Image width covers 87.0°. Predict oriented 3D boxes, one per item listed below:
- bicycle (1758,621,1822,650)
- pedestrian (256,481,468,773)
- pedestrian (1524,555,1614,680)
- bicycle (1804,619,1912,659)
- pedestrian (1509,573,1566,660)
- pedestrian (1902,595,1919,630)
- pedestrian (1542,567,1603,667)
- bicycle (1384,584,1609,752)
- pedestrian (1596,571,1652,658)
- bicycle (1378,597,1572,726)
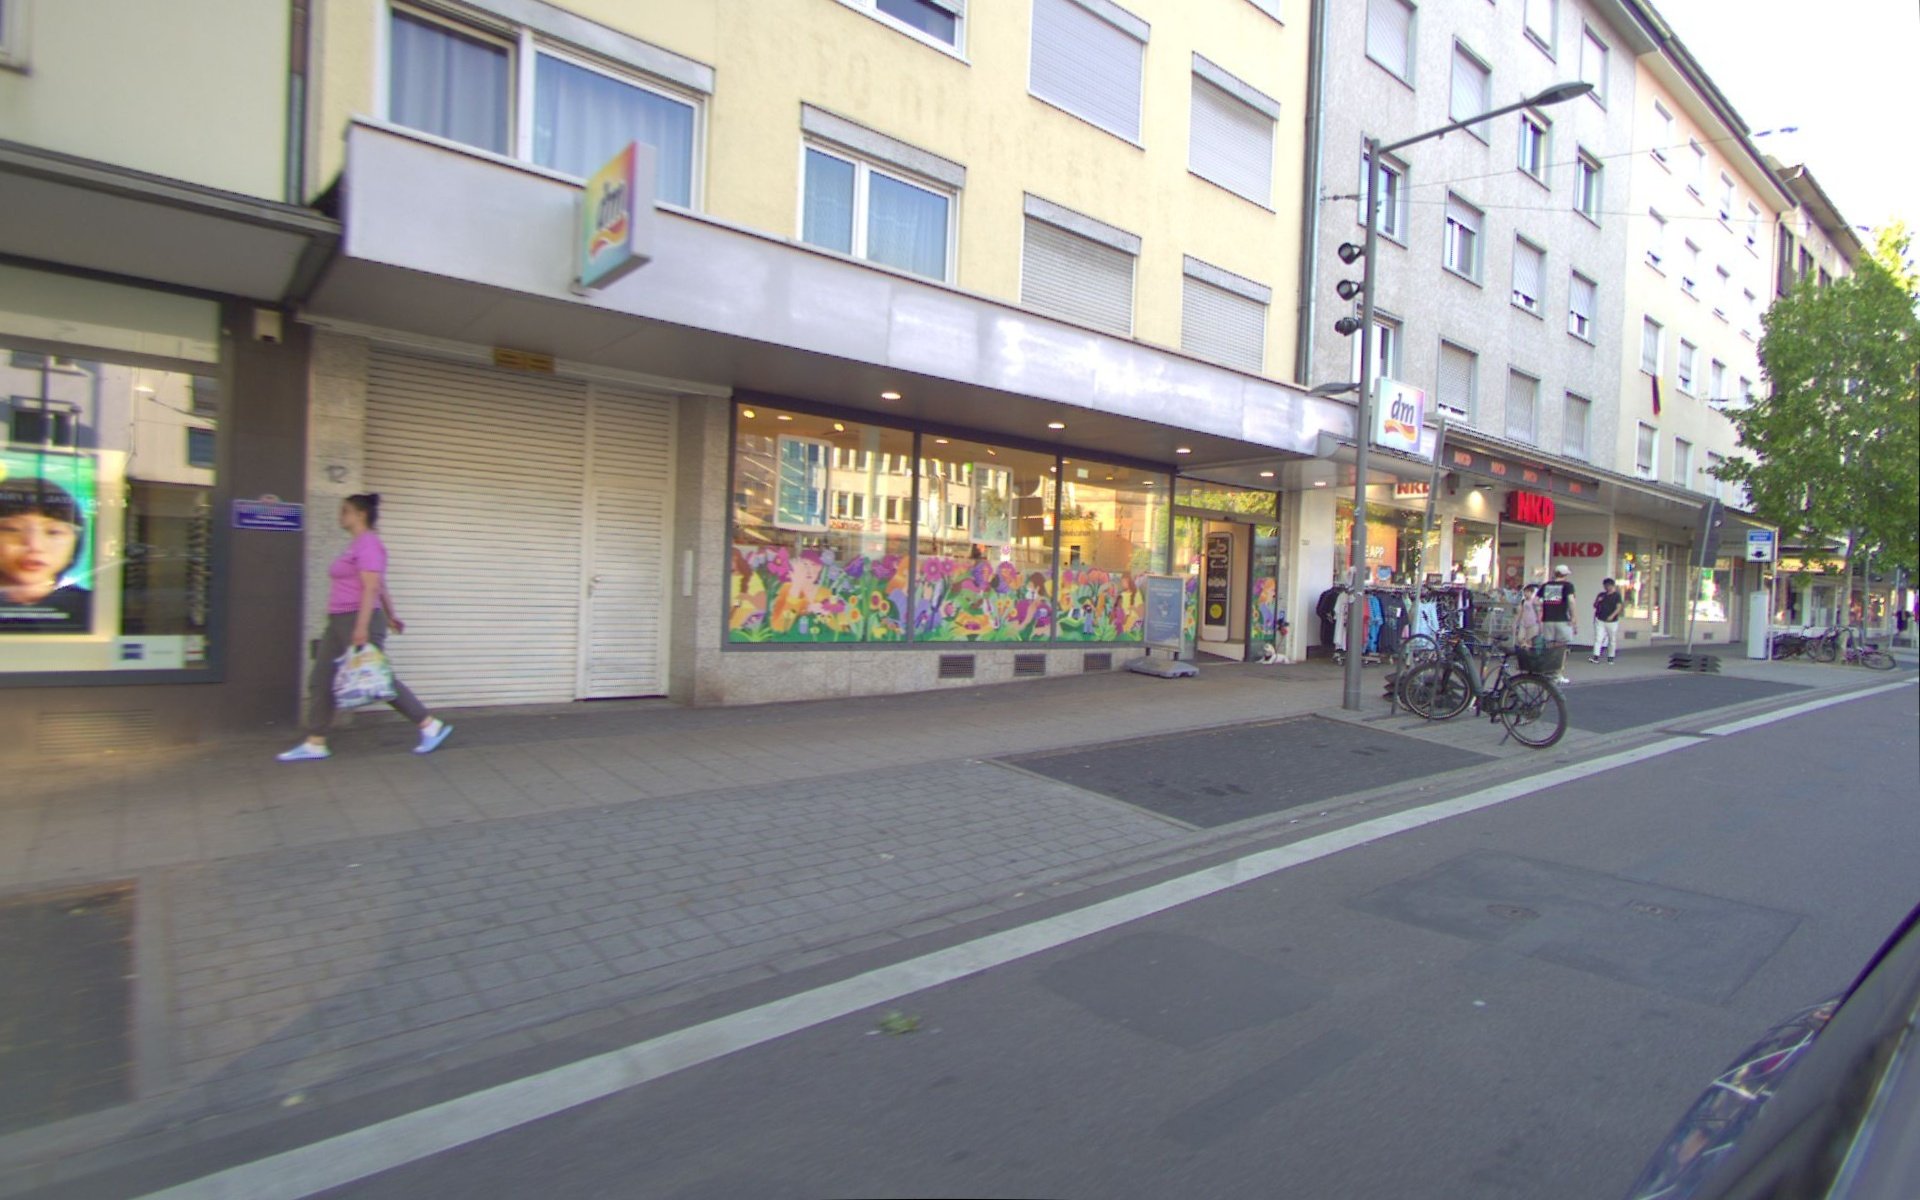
[{"bbox_3d":[20.463,0.867,24.992,0.831,0.579,1.744,3,2,27],"label":"bicycle"},{"bbox_3d":[-4.077,0.135,6.893,1.113,1.784,0.970,0,3,-39],"label":"pedestrian"},{"bbox_3d":[9.393,0.260,15.621,0.913,1.821,0.776,1,4,-38],"label":"pedestrian"},{"bbox_3d":[21.247,0.914,23.992,1.745,0.788,0.696,3,2,28],"label":"bicycle"},{"bbox_3d":[10.617,0.299,18.611,0.879,1.520,0.542,2,2,-40],"label":"pedestrian"},{"bbox_3d":[45.723,0.577,48.404,0.899,1.675,0.851,0,0,-40],"label":"pedestrian"},{"bbox_3d":[10.573,0.292,17.461,0.879,1.649,0.547,2,2,-40],"label":"pedestrian"},{"bbox_3d":[5.325,0.622,10.186,0.679,1.326,1.798,2,7,-28],"label":"bicycle"},{"bbox_3d":[13.533,0.282,20.619,1.050,1.695,0.570,1,3,-40],"label":"pedestrian"},{"bbox_3d":[5.666,0.644,11.264,1.774,1.137,0.659,7,5,24],"label":"bicycle"}]
